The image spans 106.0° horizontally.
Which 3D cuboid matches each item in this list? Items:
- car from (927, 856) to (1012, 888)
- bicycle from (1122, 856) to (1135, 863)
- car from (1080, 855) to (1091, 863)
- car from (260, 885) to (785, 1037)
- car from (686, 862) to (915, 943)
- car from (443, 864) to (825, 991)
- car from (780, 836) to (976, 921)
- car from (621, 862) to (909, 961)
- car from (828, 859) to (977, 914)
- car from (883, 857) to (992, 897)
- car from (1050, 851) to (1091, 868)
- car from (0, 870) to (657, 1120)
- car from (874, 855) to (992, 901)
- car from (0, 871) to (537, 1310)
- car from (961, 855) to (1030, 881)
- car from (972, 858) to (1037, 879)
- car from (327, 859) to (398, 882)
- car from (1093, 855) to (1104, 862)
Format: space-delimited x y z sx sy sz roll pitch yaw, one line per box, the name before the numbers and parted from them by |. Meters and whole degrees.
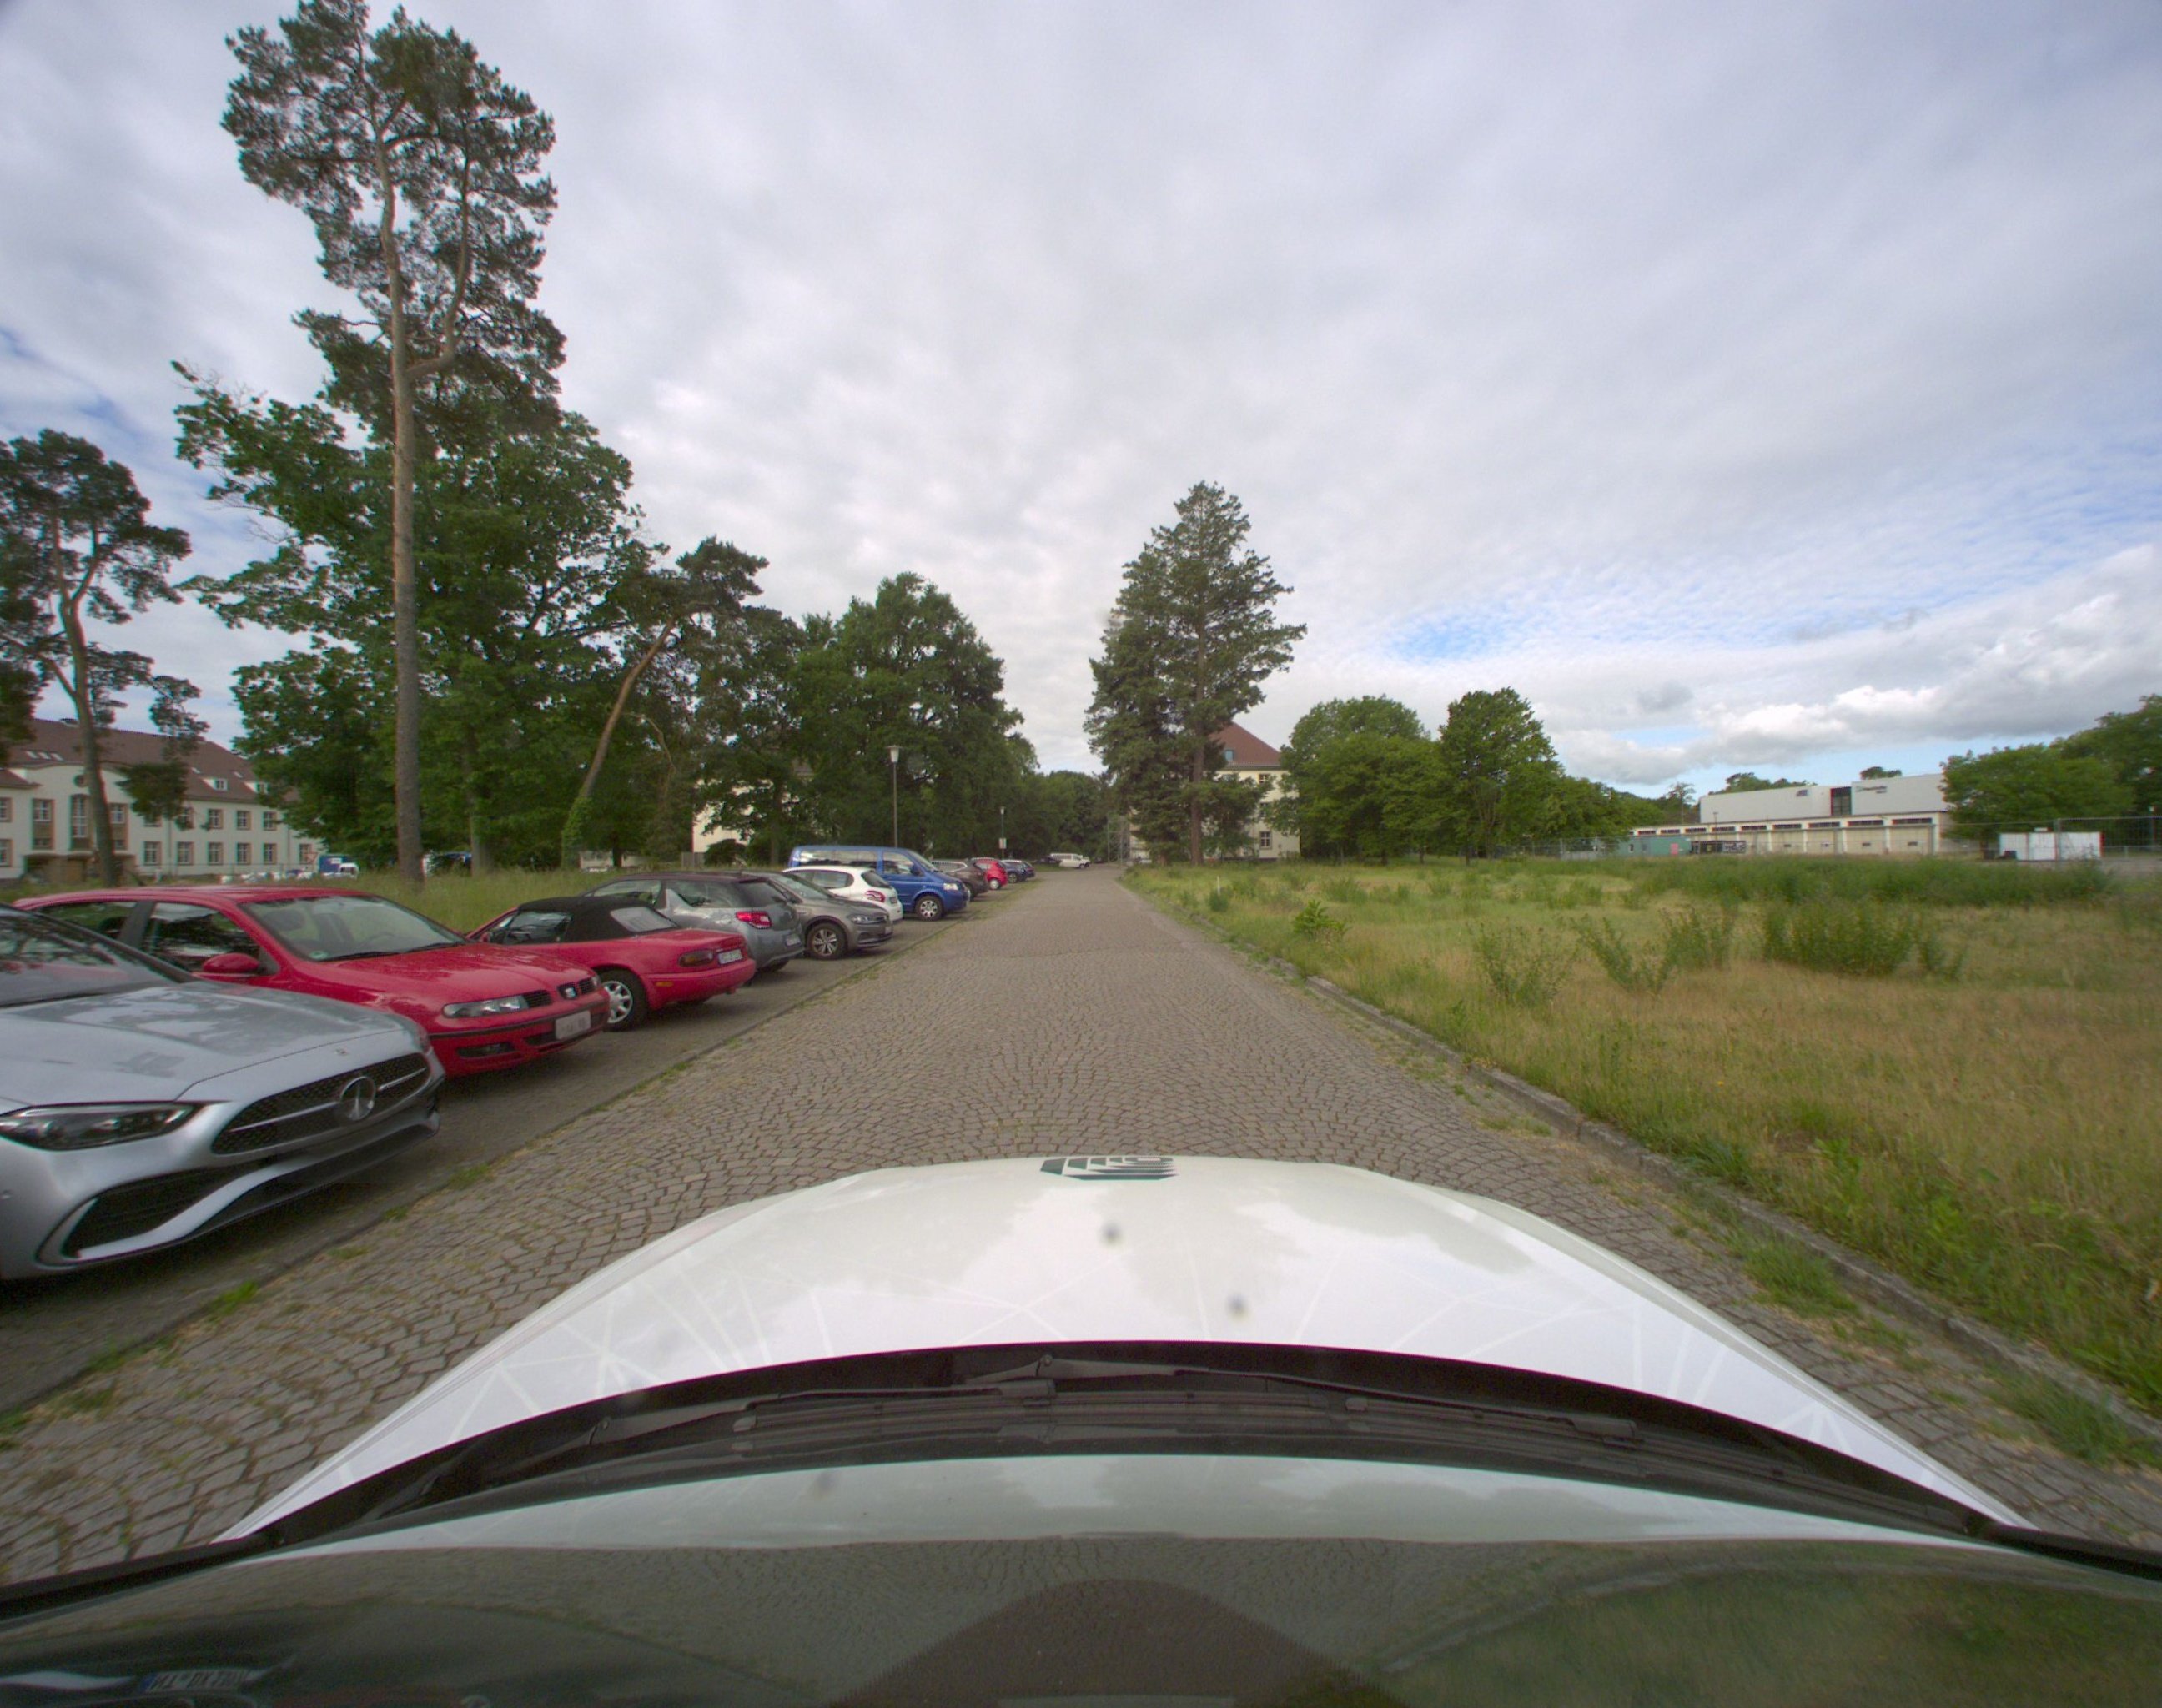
car | -5.609 0.893 41.426 4.044 1.525 1.903 -1 0 -2
bicycle | 8.420 0.957 144.137 2.232 1.254 0.634 -1 -1 2
car | 0.992 1.049 171.271 2.113 1.522 3.998 -1 0 -1
car | -5.516 1.028 8.461 4.151 1.266 1.831 -1 0 1
car | -5.695 0.959 16.881 4.054 1.497 1.846 -1 0 0
car | -5.881 0.930 11.112 4.152 1.482 1.846 -1 0 0
car | -5.393 0.630 22.179 4.768 2.122 2.114 -1 0 -1
car | -5.251 0.929 13.945 4.151 1.491 1.865 -1 0 1
car | -5.334 0.955 24.767 4.156 1.510 1.780 -1 0 -3
car | -5.894 0.926 33.792 4.155 1.510 1.906 -1 0 -2
car | -1.400 0.709 105.258 5.222 2.168 1.998 -1 0 -3
car | -5.760 0.918 6.086 4.154 1.476 1.864 -1 0 -1
car | -5.560 0.892 31.056 4.156 1.622 1.984 -1 0 -3
car | -5.411 0.896 3.791 4.363 1.507 1.934 -1 0 -3
car | -5.382 0.862 51.671 4.217 1.577 1.886 0 0 -2
car | -5.251 0.990 56.397 4.287 1.461 1.975 0 0 1
car | -68.461 1.536 77.747 1.985 2.014 5.233 -1 -1 3
car | 3.662 0.988 171.599 1.946 1.522 3.997 -1 0 -2
